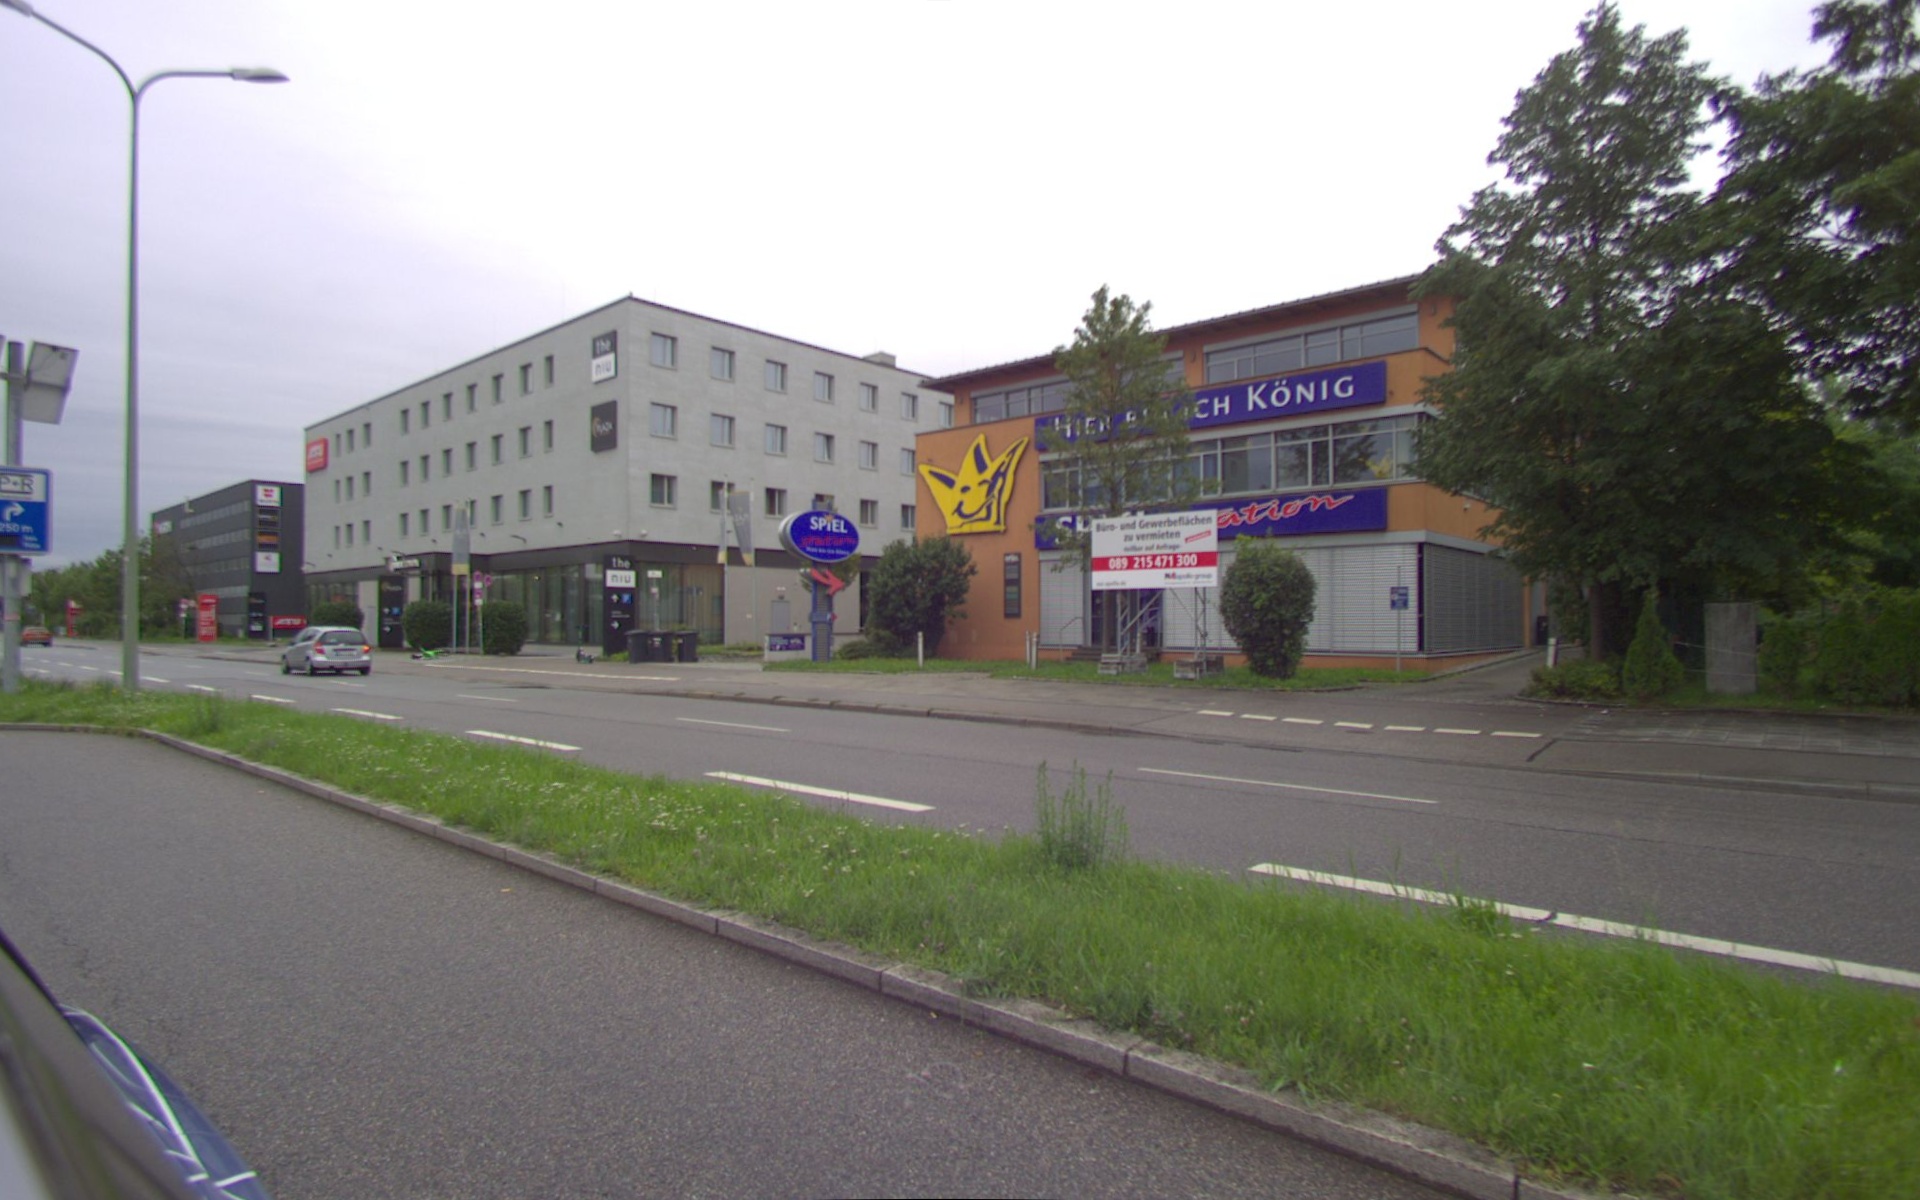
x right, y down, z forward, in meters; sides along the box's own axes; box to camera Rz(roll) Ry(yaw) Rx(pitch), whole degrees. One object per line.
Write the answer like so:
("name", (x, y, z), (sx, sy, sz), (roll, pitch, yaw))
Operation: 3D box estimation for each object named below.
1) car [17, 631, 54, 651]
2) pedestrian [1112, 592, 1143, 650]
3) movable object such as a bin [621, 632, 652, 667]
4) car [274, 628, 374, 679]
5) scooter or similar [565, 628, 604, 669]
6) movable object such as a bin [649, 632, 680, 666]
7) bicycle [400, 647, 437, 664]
("car", (-74.742, 3.270, 81.817), (4.302, 1.560, 1.717), (-1, -3, 41))
("pedestrian", (5.017, 0.618, 30.328), (0.661, 1.725, 0.652), (-1, -1, 34))
("movable object such as a bin", (-10.532, 1.610, 32.971), (0.655, 1.086, 0.729), (-2, -1, 42))
("car", (-20.994, 1.730, 33.333), (4.026, 1.569, 1.794), (-1, -3, 43))
("scooter or similar", (-12.579, 1.608, 33.870), (1.403, 1.287, 0.579), (-2, 3, 42))
("movable object such as a bin", (-9.619, 1.590, 32.918), (0.655, 1.086, 0.729), (-2, -1, 42))
("bicycle", (-21.413, 2.187, 40.031), (1.731, 0.553, 0.712), (-1, 2, 41))
